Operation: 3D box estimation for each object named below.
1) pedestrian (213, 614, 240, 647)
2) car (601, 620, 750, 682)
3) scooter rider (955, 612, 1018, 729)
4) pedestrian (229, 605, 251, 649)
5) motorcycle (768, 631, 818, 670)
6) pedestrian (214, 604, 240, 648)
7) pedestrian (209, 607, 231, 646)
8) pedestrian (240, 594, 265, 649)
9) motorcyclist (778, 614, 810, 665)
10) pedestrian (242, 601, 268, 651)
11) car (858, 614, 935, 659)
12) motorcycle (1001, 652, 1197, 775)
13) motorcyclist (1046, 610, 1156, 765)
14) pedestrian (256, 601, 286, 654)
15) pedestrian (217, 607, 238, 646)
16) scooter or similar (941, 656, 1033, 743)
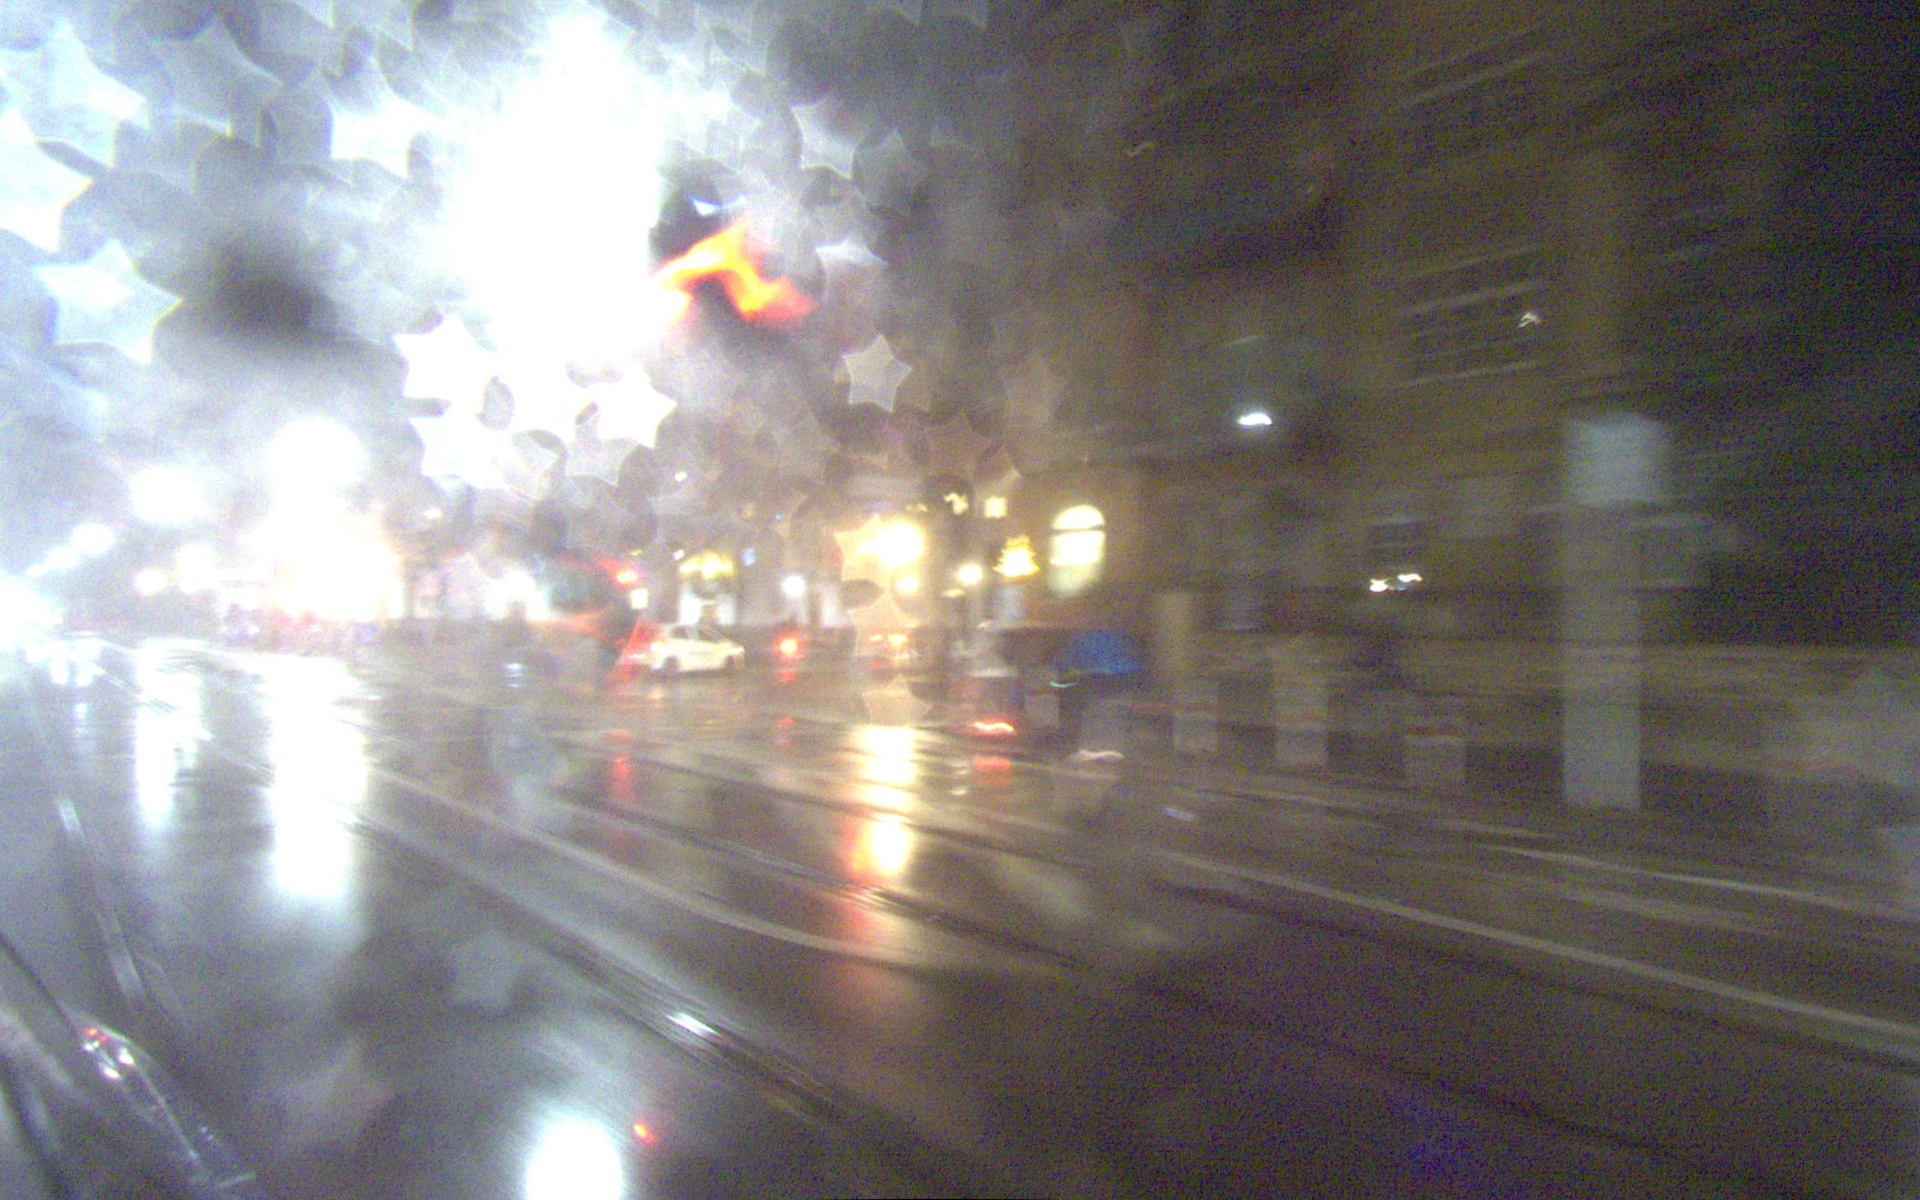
[{"bbox_3d":[-28.683,1.207,39.582,0.616,1.263,0.584,0,1,3],"label":"pedestrian"},{"bbox_3d":[-7.676,1.337,27.584,1.918,1.527,3.560,1,-1,31],"label":"car"},{"bbox_3d":[0.368,0.970,14.283,0.631,1.585,0.654,0,1,-34],"label":"scooter rider"},{"bbox_3d":[-27.596,1.029,38.793,0.526,1.641,0.400,0,1,3],"label":"pedestrian"},{"bbox_3d":[-5.698,1.702,34.665,0.785,1.222,2.238,1,0,16],"label":"motorcycle"},{"bbox_3d":[-28.207,1.009,38.964,0.552,1.664,0.584,0,1,3],"label":"pedestrian"},{"bbox_3d":[-29.776,1.060,40.736,0.572,1.559,0.507,0,1,28],"label":"pedestrian"},{"bbox_3d":[-26.443,0.782,37.816,0.859,2.001,0.601,1,1,43],"label":"pedestrian"},{"bbox_3d":[-5.685,1.342,34.656,0.785,1.707,0.815,1,0,17],"label":"motorcyclist"},{"bbox_3d":[-25.429,0.931,36.512,0.706,1.787,0.672,-1,1,-42],"label":"pedestrian"},{"bbox_3d":[-2.684,1.524,43.725,1.744,1.752,3.767,1,0,25],"label":"car"},{"bbox_3d":[1.628,1.314,12.190,2.326,1.239,0.700,1,-3,44],"label":"motorcycle"},{"bbox_3d":[1.694,1.021,12.158,1.029,1.744,0.700,1,-3,43],"label":"motorcyclist"},{"bbox_3d":[-23.867,0.941,35.068,0.716,1.787,0.663,0,1,36],"label":"pedestrian"},{"bbox_3d":[-29.269,1.062,40.460,0.584,1.539,0.475,0,1,28],"label":"pedestrian"},{"bbox_3d":[0.364,1.364,14.249,0.631,1.060,1.373,0,1,-33],"label":"scooter or similar"}]
